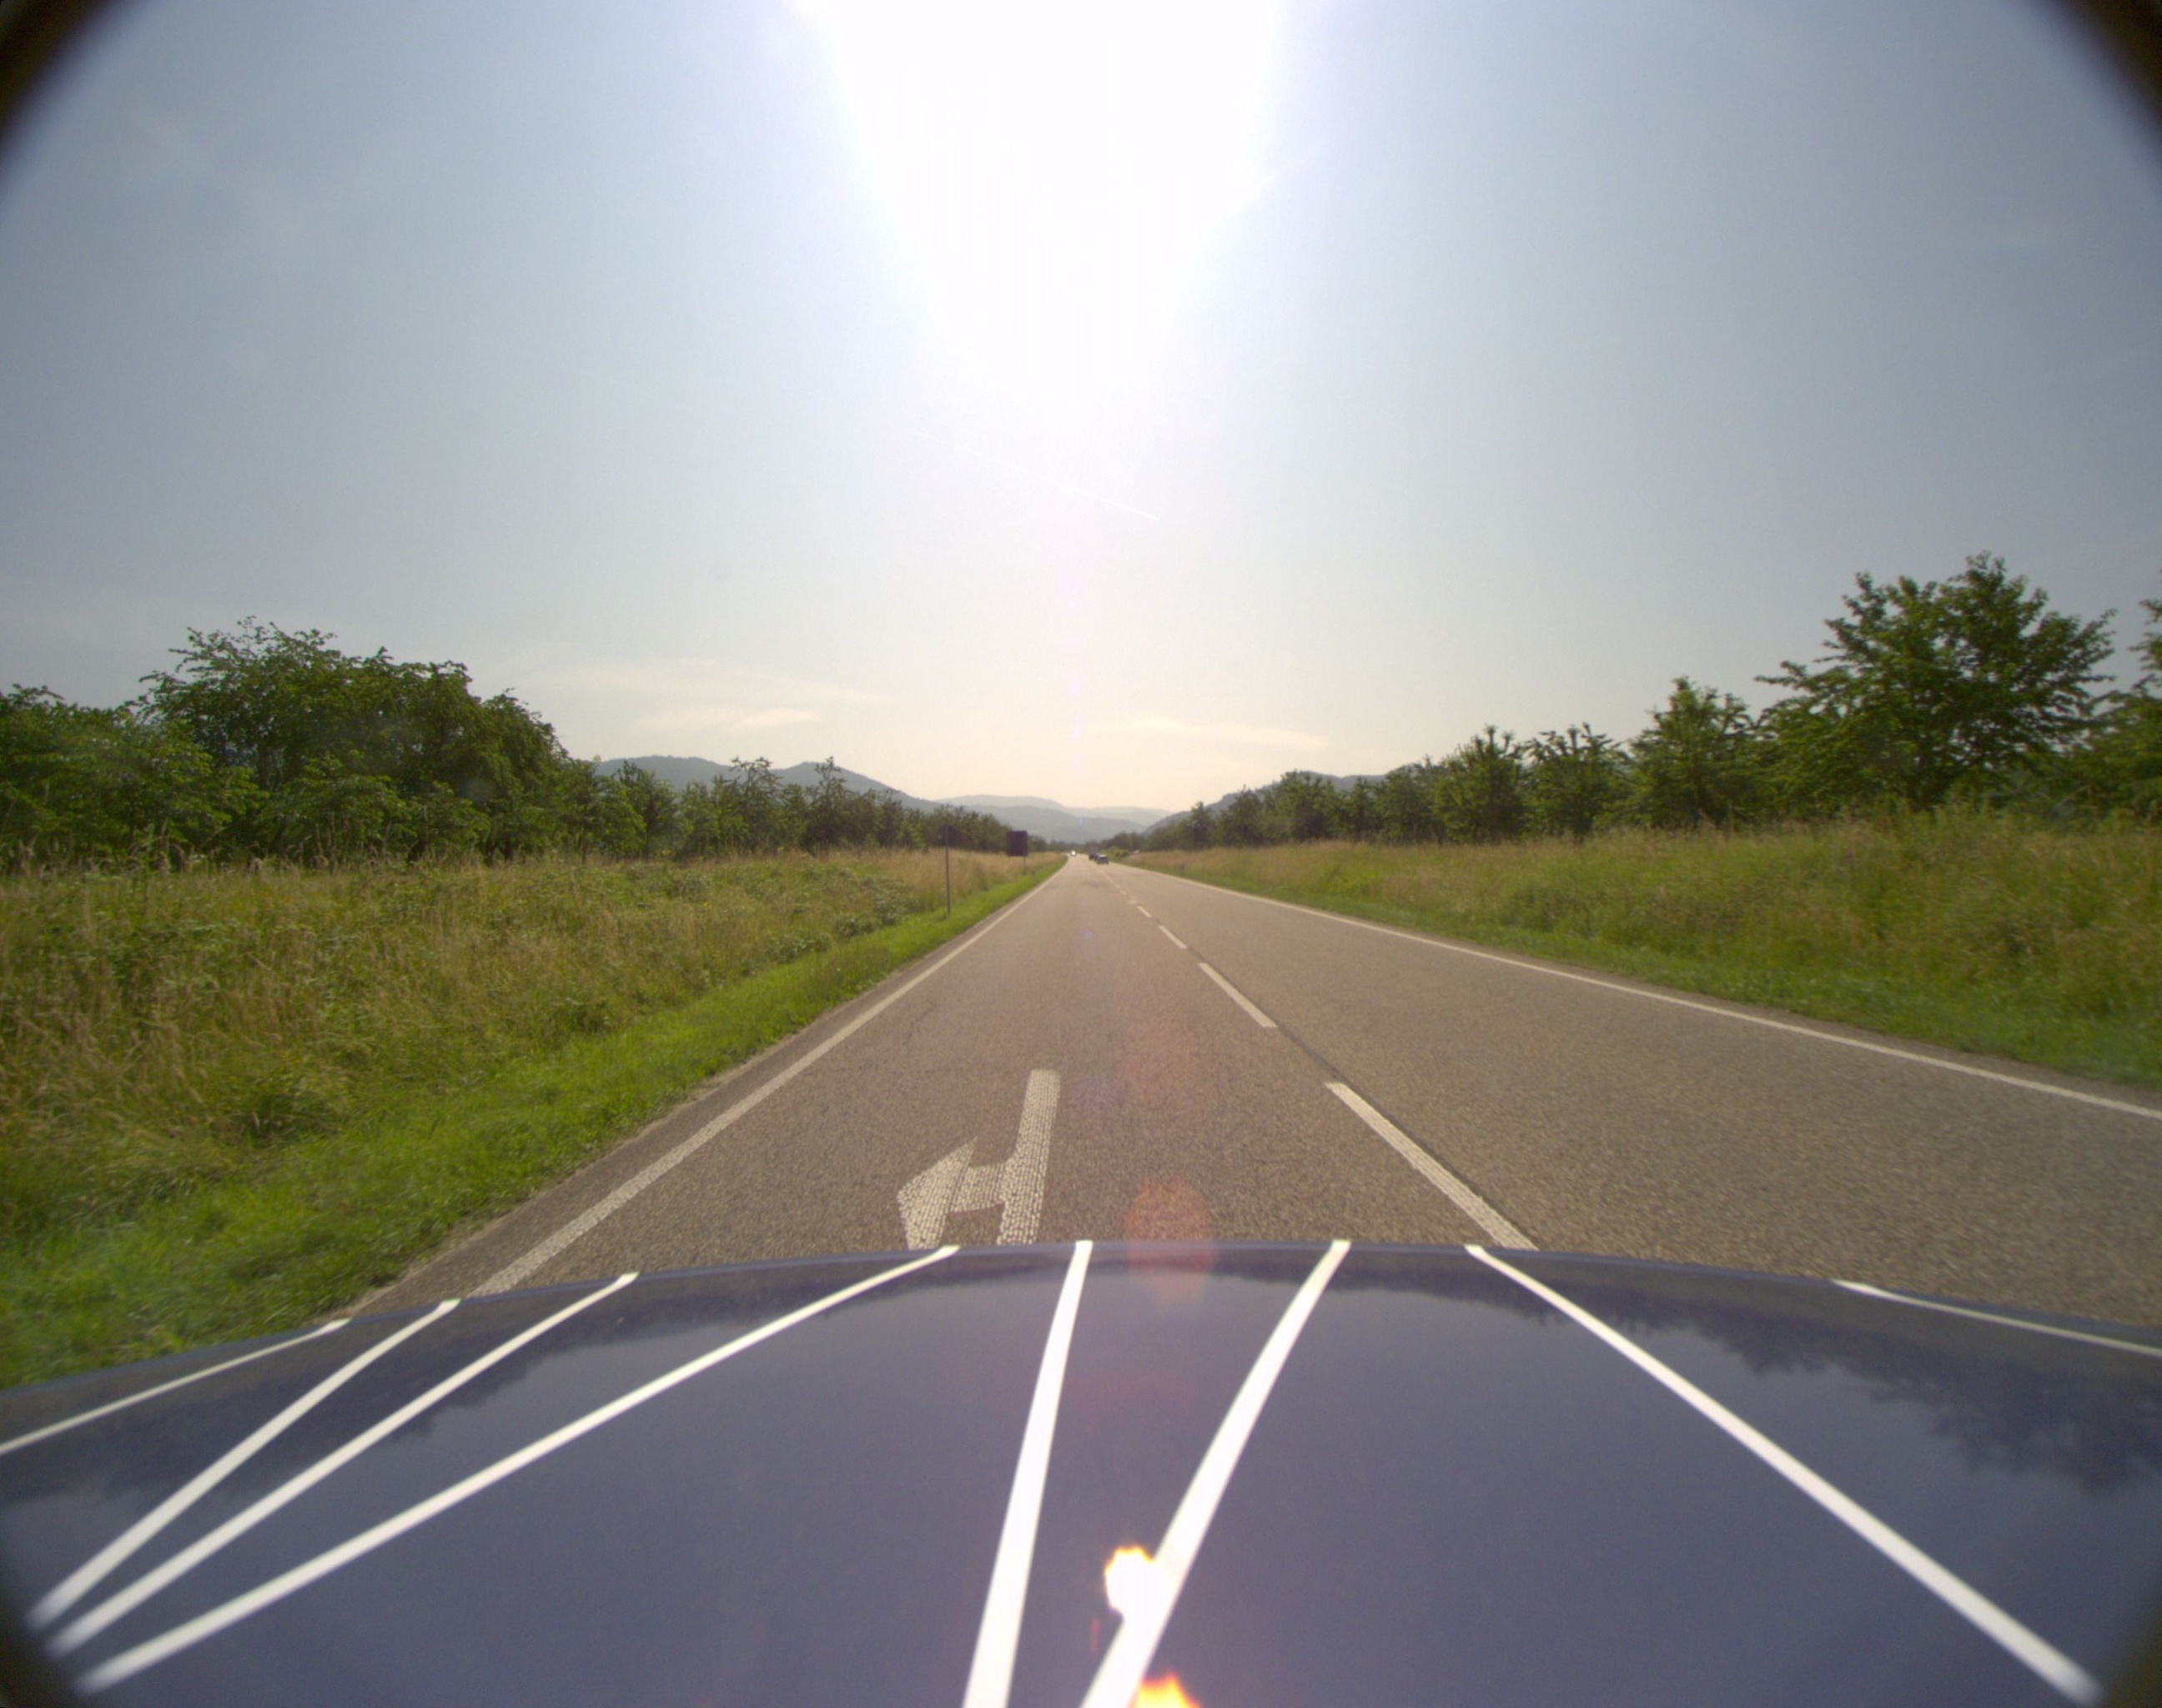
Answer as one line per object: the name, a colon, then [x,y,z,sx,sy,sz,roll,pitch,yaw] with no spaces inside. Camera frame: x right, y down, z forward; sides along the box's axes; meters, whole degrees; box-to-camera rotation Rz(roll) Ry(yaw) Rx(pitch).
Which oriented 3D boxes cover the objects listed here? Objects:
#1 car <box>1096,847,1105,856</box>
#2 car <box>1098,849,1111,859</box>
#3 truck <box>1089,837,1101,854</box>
car: [4.017,-0.542,154.480,1.840,1.668,4.411,-2,0,1]
car: [3.658,-0.025,119.383,1.694,1.400,4.893,-2,0,-1]
truck: [3.390,-2.054,186.936,2.671,3.816,10.207,-2,0,0]
